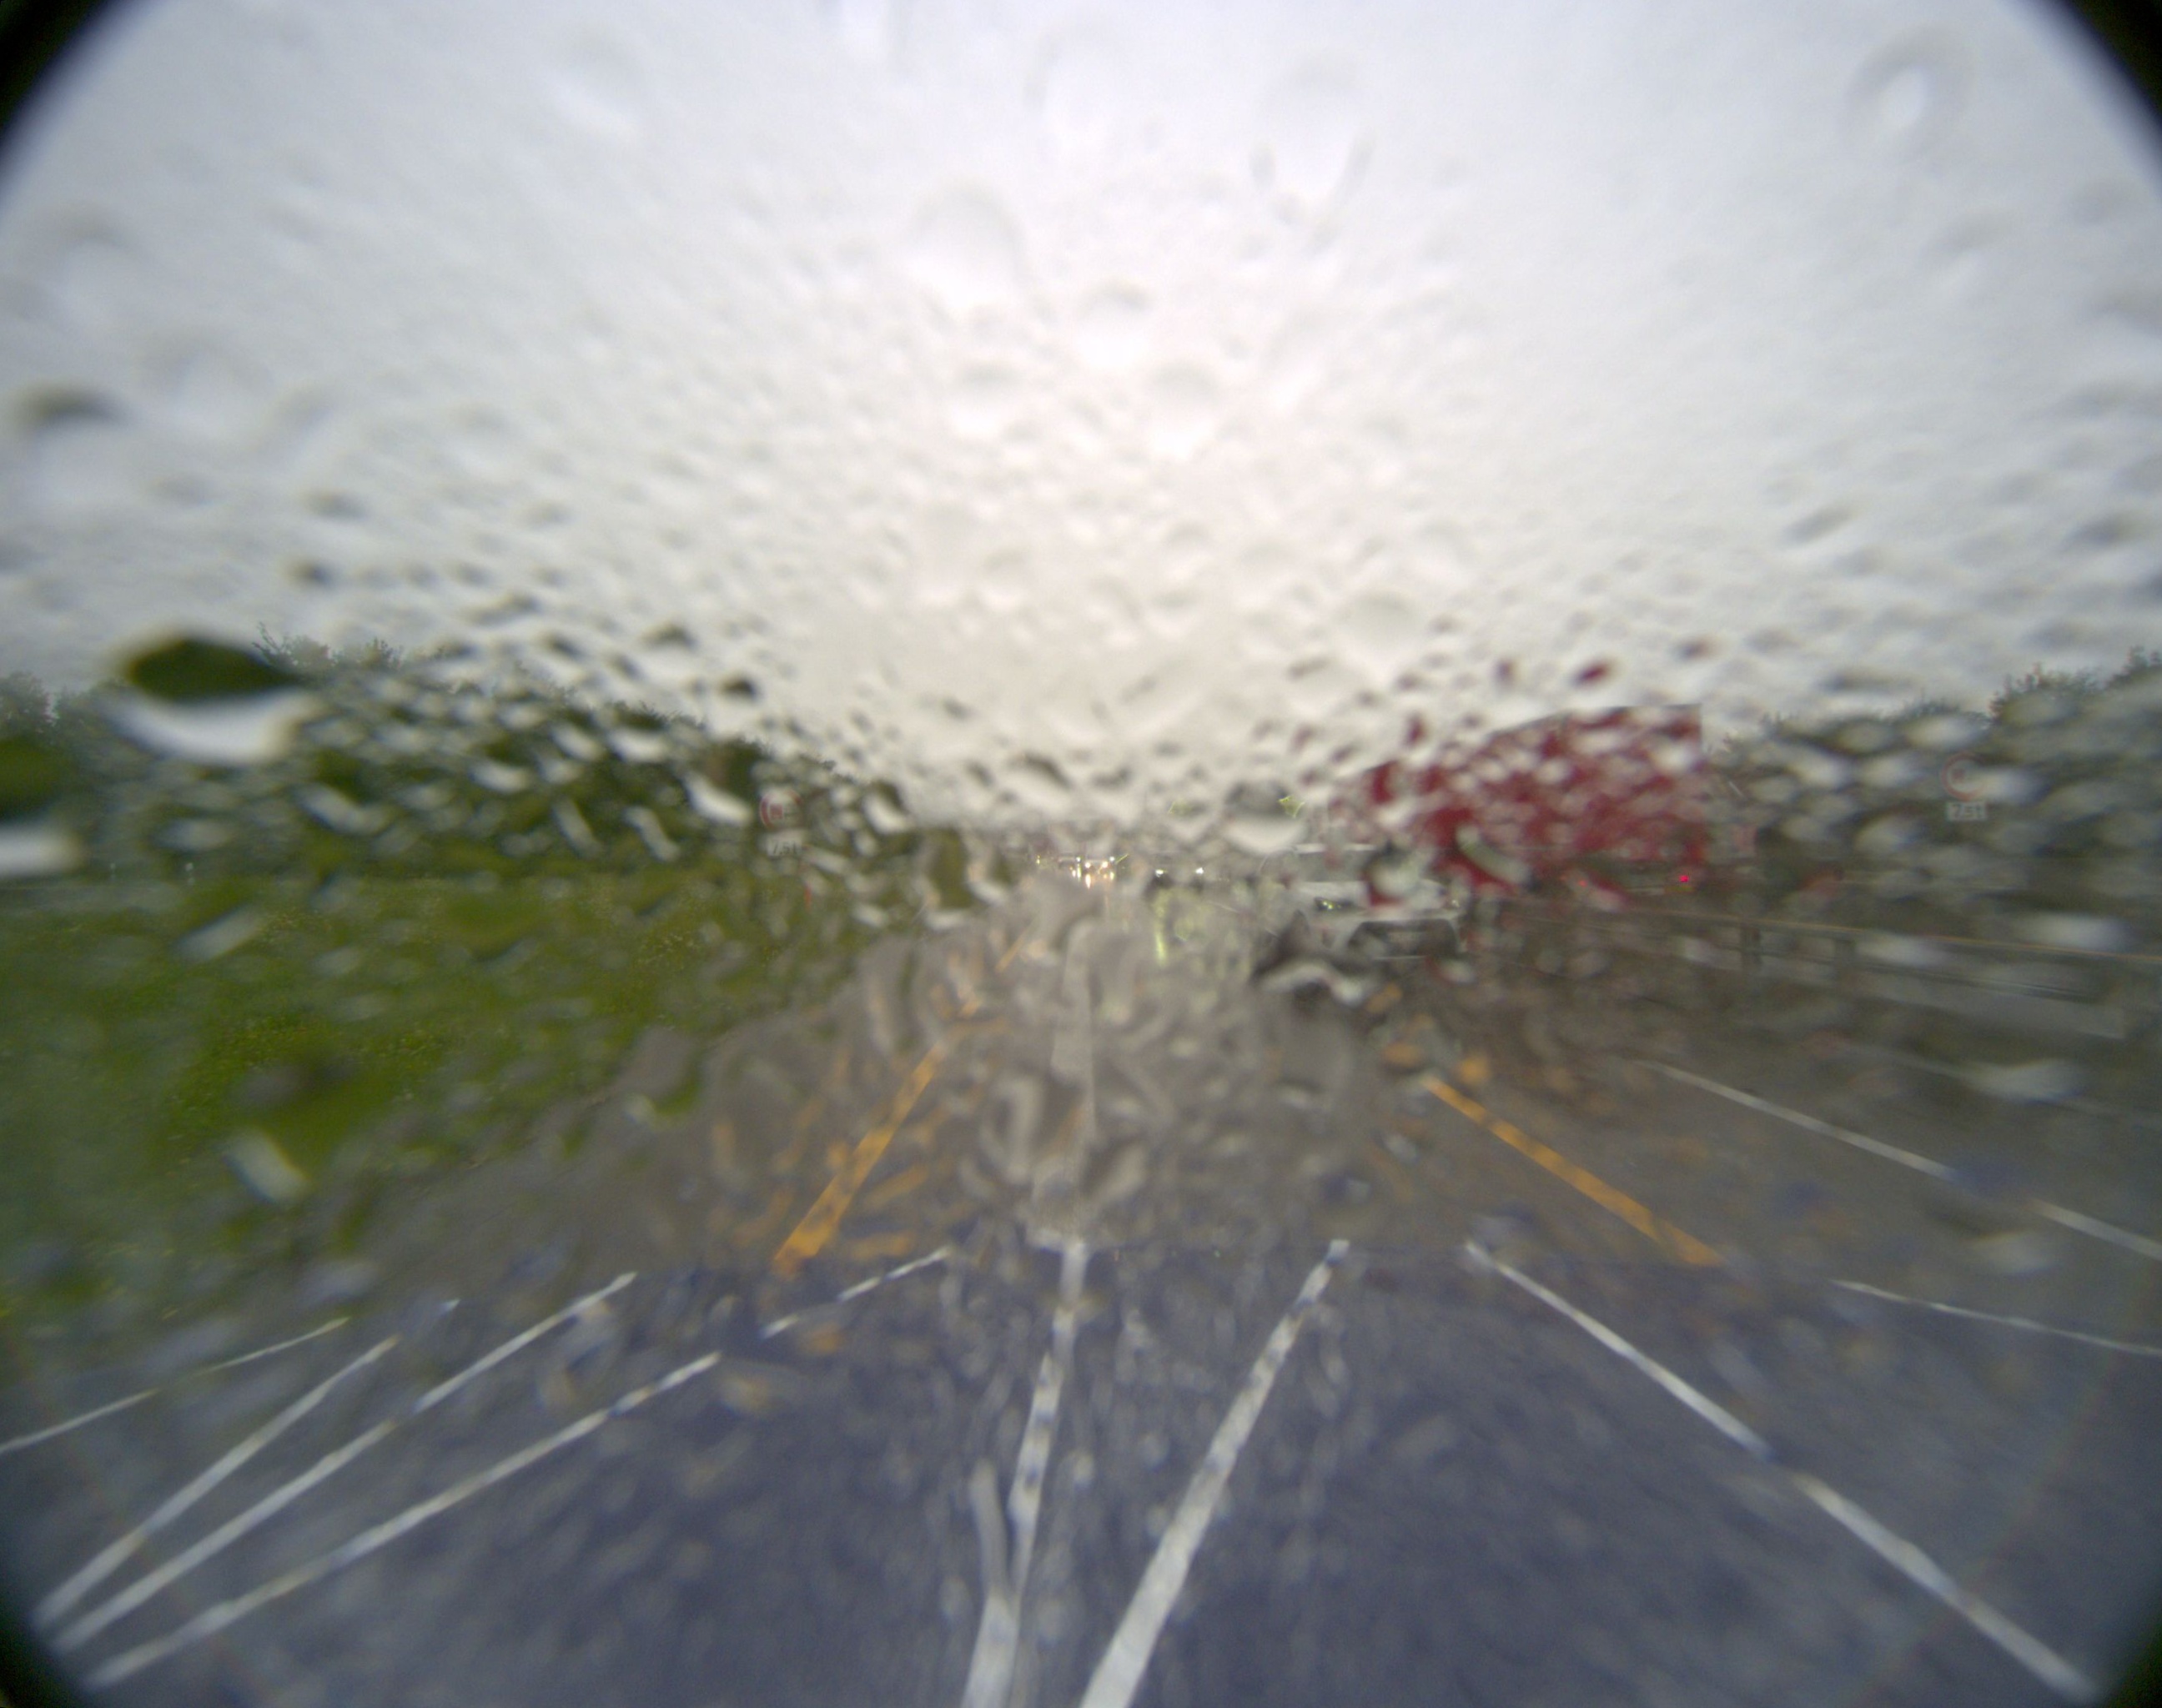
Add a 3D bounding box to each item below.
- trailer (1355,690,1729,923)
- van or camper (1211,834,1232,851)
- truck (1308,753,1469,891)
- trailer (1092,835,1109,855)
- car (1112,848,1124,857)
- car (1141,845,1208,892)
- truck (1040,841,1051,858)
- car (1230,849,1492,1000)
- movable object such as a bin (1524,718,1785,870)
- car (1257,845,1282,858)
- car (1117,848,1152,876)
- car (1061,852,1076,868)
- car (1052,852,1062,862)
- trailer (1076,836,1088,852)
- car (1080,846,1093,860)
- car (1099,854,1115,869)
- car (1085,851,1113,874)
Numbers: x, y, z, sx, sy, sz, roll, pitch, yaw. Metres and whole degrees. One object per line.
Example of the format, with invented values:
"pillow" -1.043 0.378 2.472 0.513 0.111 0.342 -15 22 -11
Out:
"trailer" 10.492 -0.932 19.554 2.983 4.270 11.058 -1 1 0
"van or camper" 37.997 -3.048 205.364 3.376 4.299 8.502 -3 1 -4
"truck" 10.576 -1.019 26.990 3.015 4.247 6.799 -1 1 1
"trailer" 4.102 -1.804 160.990 2.915 4.065 12.218 -1 0 -1
"car" 6.786 -0.320 139.484 1.999 1.497 4.295 -2 1 -1
"car" 3.491 0.476 29.355 2.069 1.618 5.195 -2 1 2
"truck" -9.176 -1.236 195.382 2.507 4.067 15.196 -3 1 -2
"car" 3.517 0.745 10.705 1.932 1.542 5.006 -2 1 2
"movable object such as a bin" 26.343 -2.492 36.147 4.181 5.881 11.044 -3 1 2
"car" 28.045 -0.383 113.011 2.099 1.955 5.363 -2 1 -3
"car" 3.135 0.461 45.278 1.792 1.481 3.999 -3 1 1
"car" -1.377 0.658 86.296 1.673 1.804 3.999 -1 1 -1
"car" -4.160 0.518 132.219 1.674 1.804 3.998 -1 1 -4
"trailer" 0.180 -2.647 198.641 2.501 4.026 12.581 -1 1 -2
"car" 0.864 -0.108 114.679 1.766 2.002 3.999 -3 1 0
"car" 2.735 0.767 81.005 1.589 1.528 3.831 -1 1 0
"car" 1.408 0.679 61.654 1.882 1.772 3.998 -1 1 -5
